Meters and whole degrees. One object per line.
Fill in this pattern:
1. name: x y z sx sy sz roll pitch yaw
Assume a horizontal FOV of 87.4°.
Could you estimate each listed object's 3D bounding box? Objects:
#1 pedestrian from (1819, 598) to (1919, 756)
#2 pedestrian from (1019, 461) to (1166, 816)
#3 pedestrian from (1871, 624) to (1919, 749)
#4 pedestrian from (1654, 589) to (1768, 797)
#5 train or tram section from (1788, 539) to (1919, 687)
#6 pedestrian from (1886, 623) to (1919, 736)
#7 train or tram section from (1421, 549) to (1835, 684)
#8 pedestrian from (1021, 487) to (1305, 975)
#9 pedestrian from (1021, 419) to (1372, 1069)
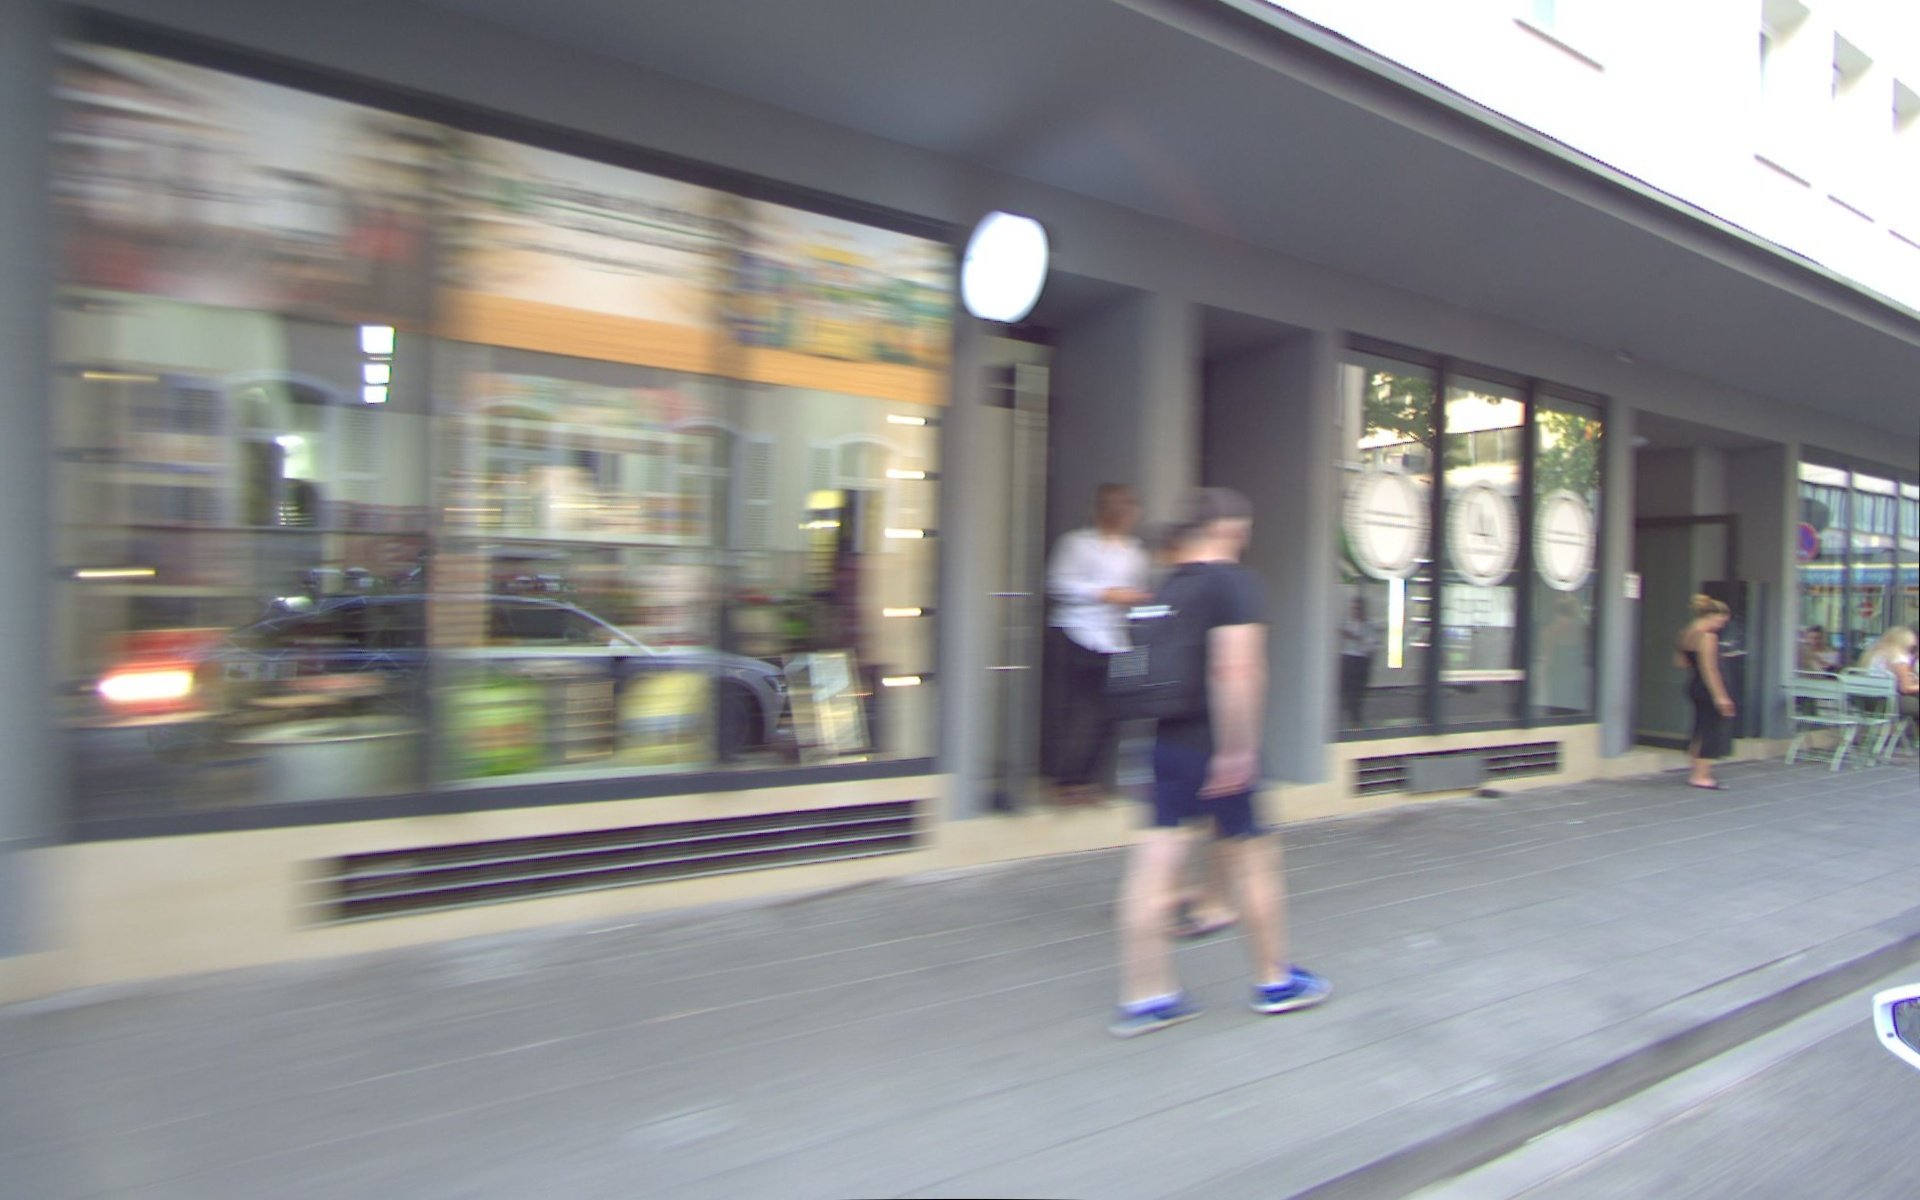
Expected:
1. pedestrian: 9.651 0.779 10.494 0.849 1.568 0.702 1 0 -23
2. pedestrian: 0.735 0.208 5.597 0.606 1.834 0.541 1 -1 -31
3. pedestrian: 10.465 0.927 10.923 0.694 1.303 0.858 1 0 35
4. pedestrian: 6.103 0.715 8.195 0.647 1.591 0.636 2 1 33
5. train or tram section: 25.732 0.348 22.820 2.983 3.570 10.317 2 -2 -30
6. pedestrian: 11.286 0.925 11.515 0.768 1.256 0.701 1 3 -28
7. train or tram section: 20.428 0.510 31.921 2.978 3.570 10.756 2 -1 -30
8. pedestrian: 0.851 0.493 4.257 0.922 1.805 0.700 1 0 -31
9. pedestrian: 0.788 0.418 3.387 0.922 1.834 0.711 1 -1 -30
